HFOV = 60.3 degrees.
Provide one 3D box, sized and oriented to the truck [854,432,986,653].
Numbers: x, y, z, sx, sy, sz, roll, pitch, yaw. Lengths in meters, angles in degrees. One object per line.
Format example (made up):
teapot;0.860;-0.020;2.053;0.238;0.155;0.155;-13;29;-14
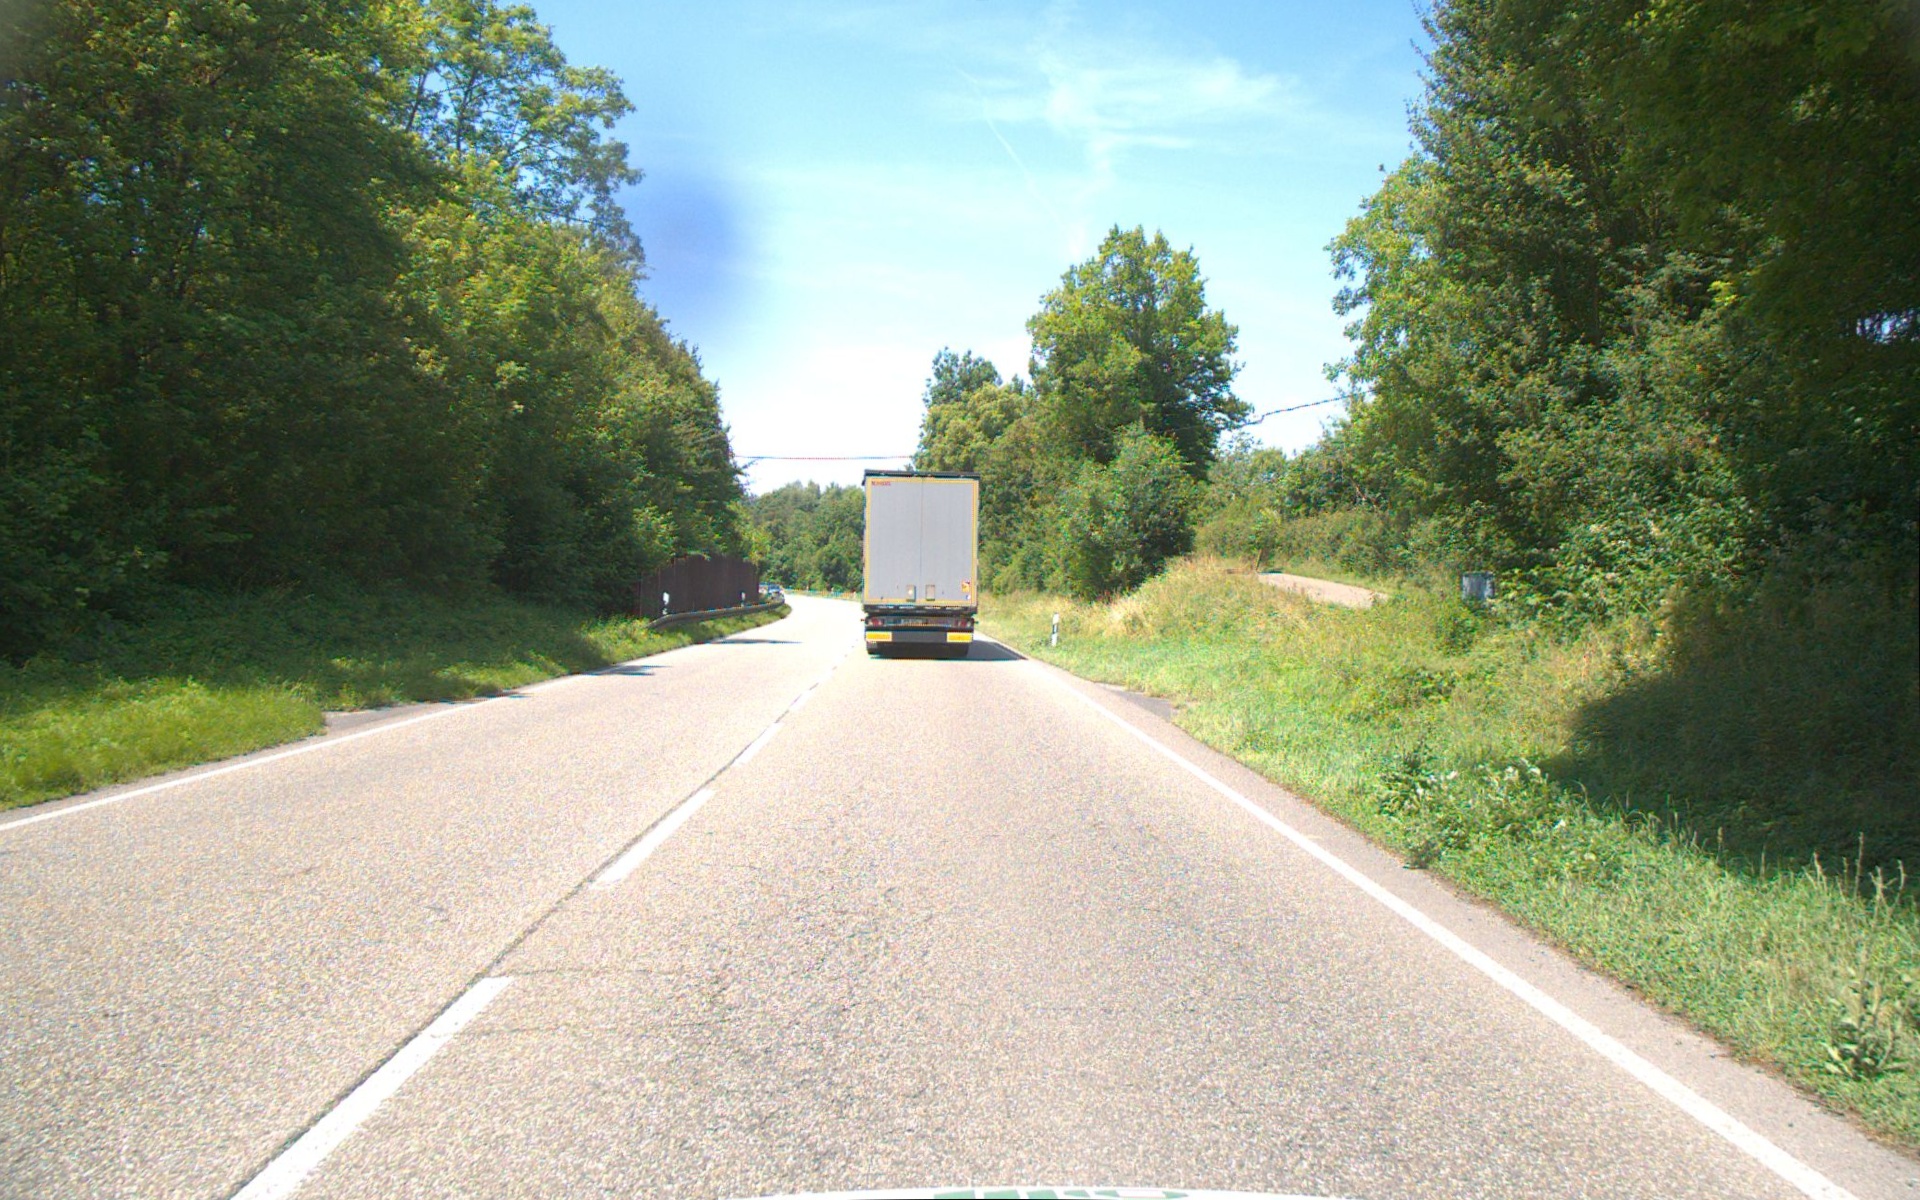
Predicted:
truck;-0.807;-1.197;38.746;2.764;4.684;6.665;1;-1;1

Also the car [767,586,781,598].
car;-24.867;-1.084;220.972;1.588;1.517;3.608;1;0;-10
